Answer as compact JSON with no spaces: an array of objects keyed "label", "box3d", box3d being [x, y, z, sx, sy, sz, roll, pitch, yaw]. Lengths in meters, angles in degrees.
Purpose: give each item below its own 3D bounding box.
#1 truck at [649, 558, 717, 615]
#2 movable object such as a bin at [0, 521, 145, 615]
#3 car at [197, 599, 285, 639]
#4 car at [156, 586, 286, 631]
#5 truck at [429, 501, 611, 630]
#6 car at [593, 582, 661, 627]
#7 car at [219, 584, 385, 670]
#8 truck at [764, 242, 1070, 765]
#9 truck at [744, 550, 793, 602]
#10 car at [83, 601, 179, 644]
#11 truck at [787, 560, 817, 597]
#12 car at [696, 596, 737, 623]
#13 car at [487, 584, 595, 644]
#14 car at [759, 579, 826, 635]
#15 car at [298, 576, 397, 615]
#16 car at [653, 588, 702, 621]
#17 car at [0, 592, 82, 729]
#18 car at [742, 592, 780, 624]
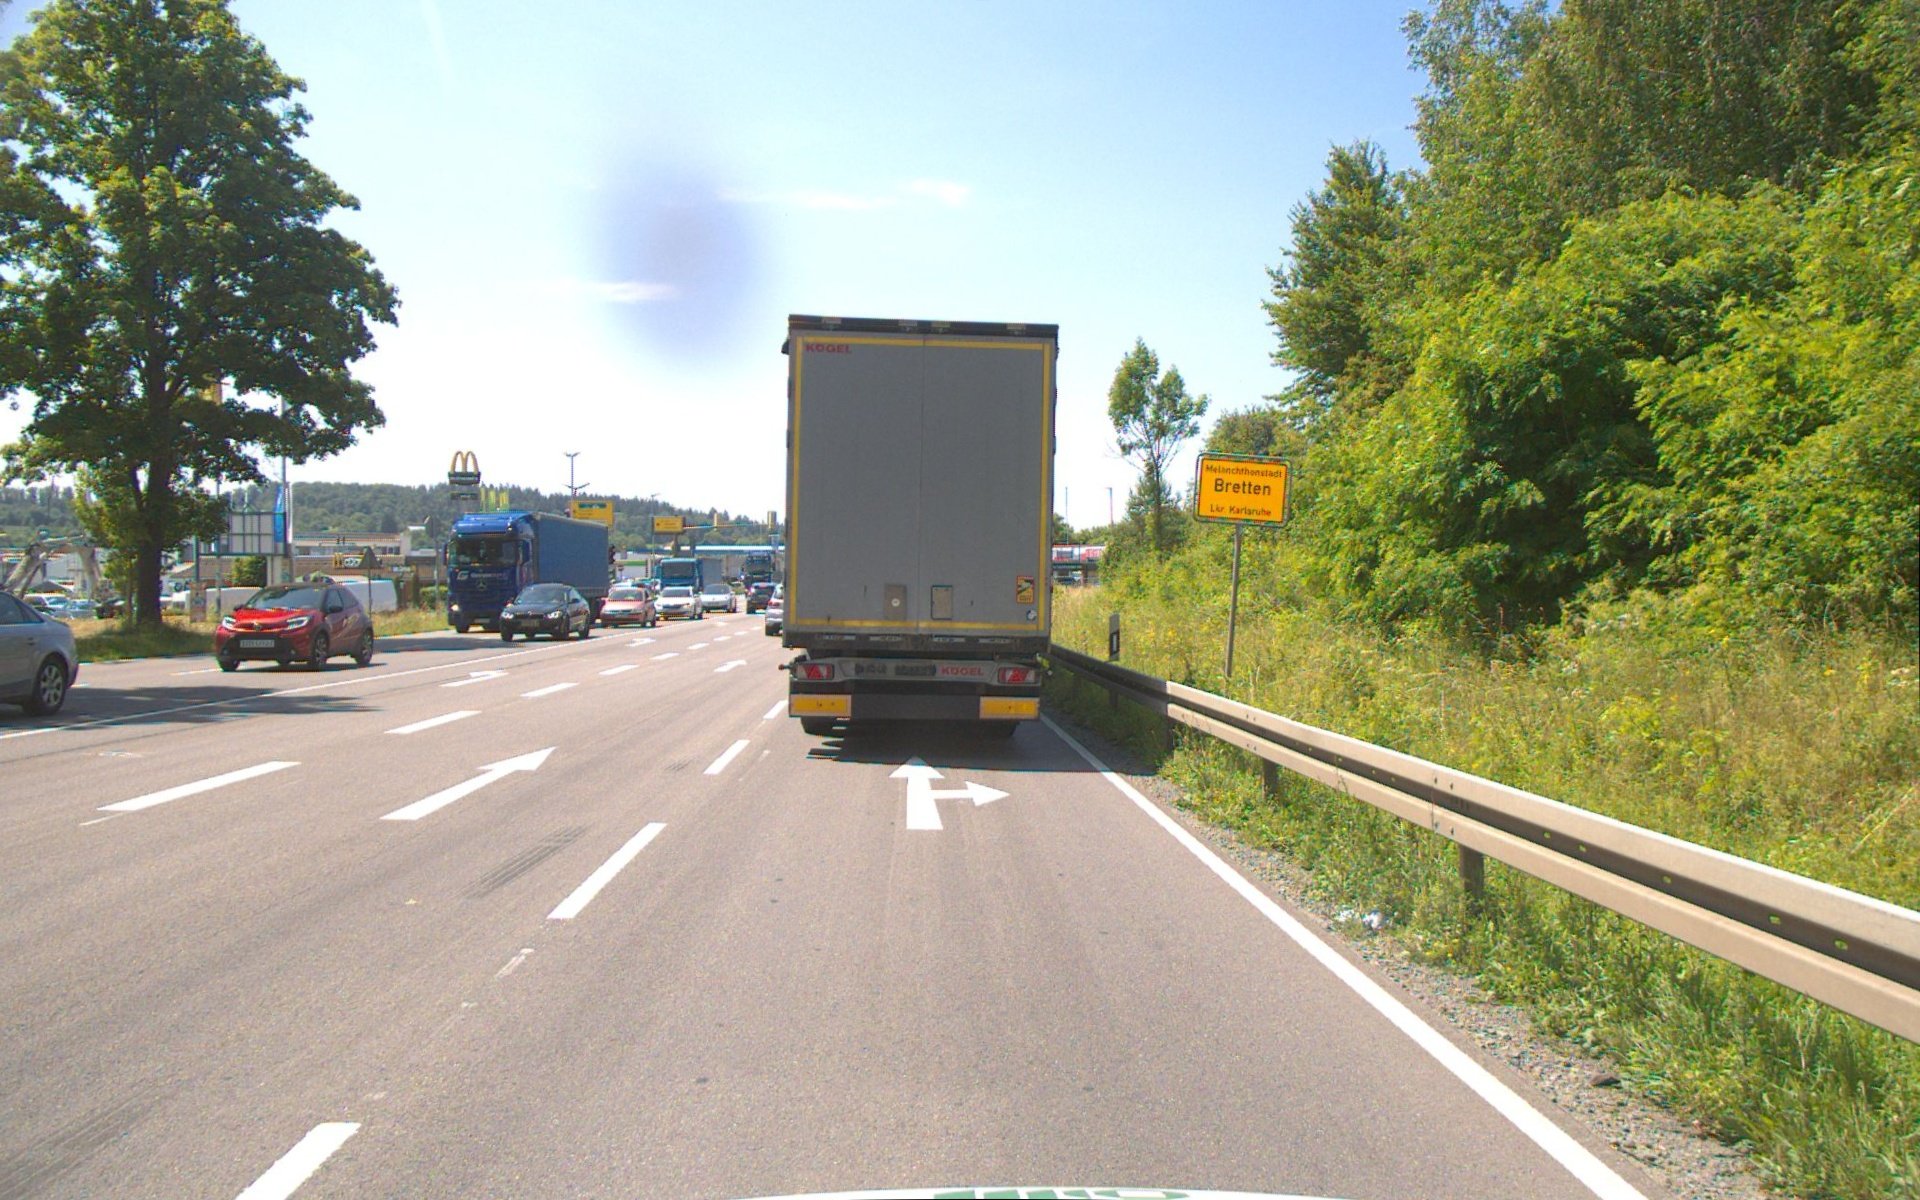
[{"label":"truck","box3d":[-17.389,-0.801,104.446,2.789,3.410,11.476,0,0,-2]},{"label":"movable object such as a bin","box3d":[-34.113,-1.149,60.937,2.994,3.356,6.760,0,0,38]},{"label":"car","box3d":[-31.610,0.815,72.706,3.920,1.646,1.833,1,0,36]},{"label":"car","box3d":[-34.336,0.386,76.947,1.966,2.049,5.183,0,0,44]},{"label":"truck","box3d":[-16.227,-1.165,62.725,2.908,4.250,16.569,0,0,-2]},{"label":"car","box3d":[-12.094,0.149,60.269,1.732,1.471,3.774,-4,0,-2]},{"label":"car","box3d":[-11.933,0.455,30.252,1.609,1.463,4.014,0,0,-3]},{"label":"truck","box3d":[-0.805,-0.795,23.456,2.701,4.720,16.644,1,-1,-3]},{"label":"truck","box3d":[-17.279,-2.080,150.456,3.083,4.425,17.535,0,0,-2]},{"label":"car","box3d":[-34.232,0.906,68.290,3.920,1.680,1.993,1,0,36]},{"label":"truck","box3d":[-18.028,-2.407,189.622,2.876,4.019,14.227,0,0,-3]},{"label":"car","box3d":[-13.531,0.545,92.046,1.726,1.453,4.178,1,-1,-2]},{"label":"car","box3d":[-11.682,0.380,46.412,1.880,1.506,4.685,-2,0,-2]},{"label":"car","box3d":[-5.455,0.209,54.220,1.768,1.699,4.291,1,0,-1]},{"label":"car","box3d":[-35.435,-0.259,95.816,1.960,2.221,5.174,0,0,35]},{"label":"car","box3d":[-12.674,0.185,74.308,1.666,1.439,4.559,0,0,-3]},{"label":"car","box3d":[-10.707,0.595,16.608,1.731,1.411,3.998,1,-1,-2]},{"label":"car","box3d":[-10.604,0.436,88.292,1.758,1.655,4.366,0,0,-4]}]
